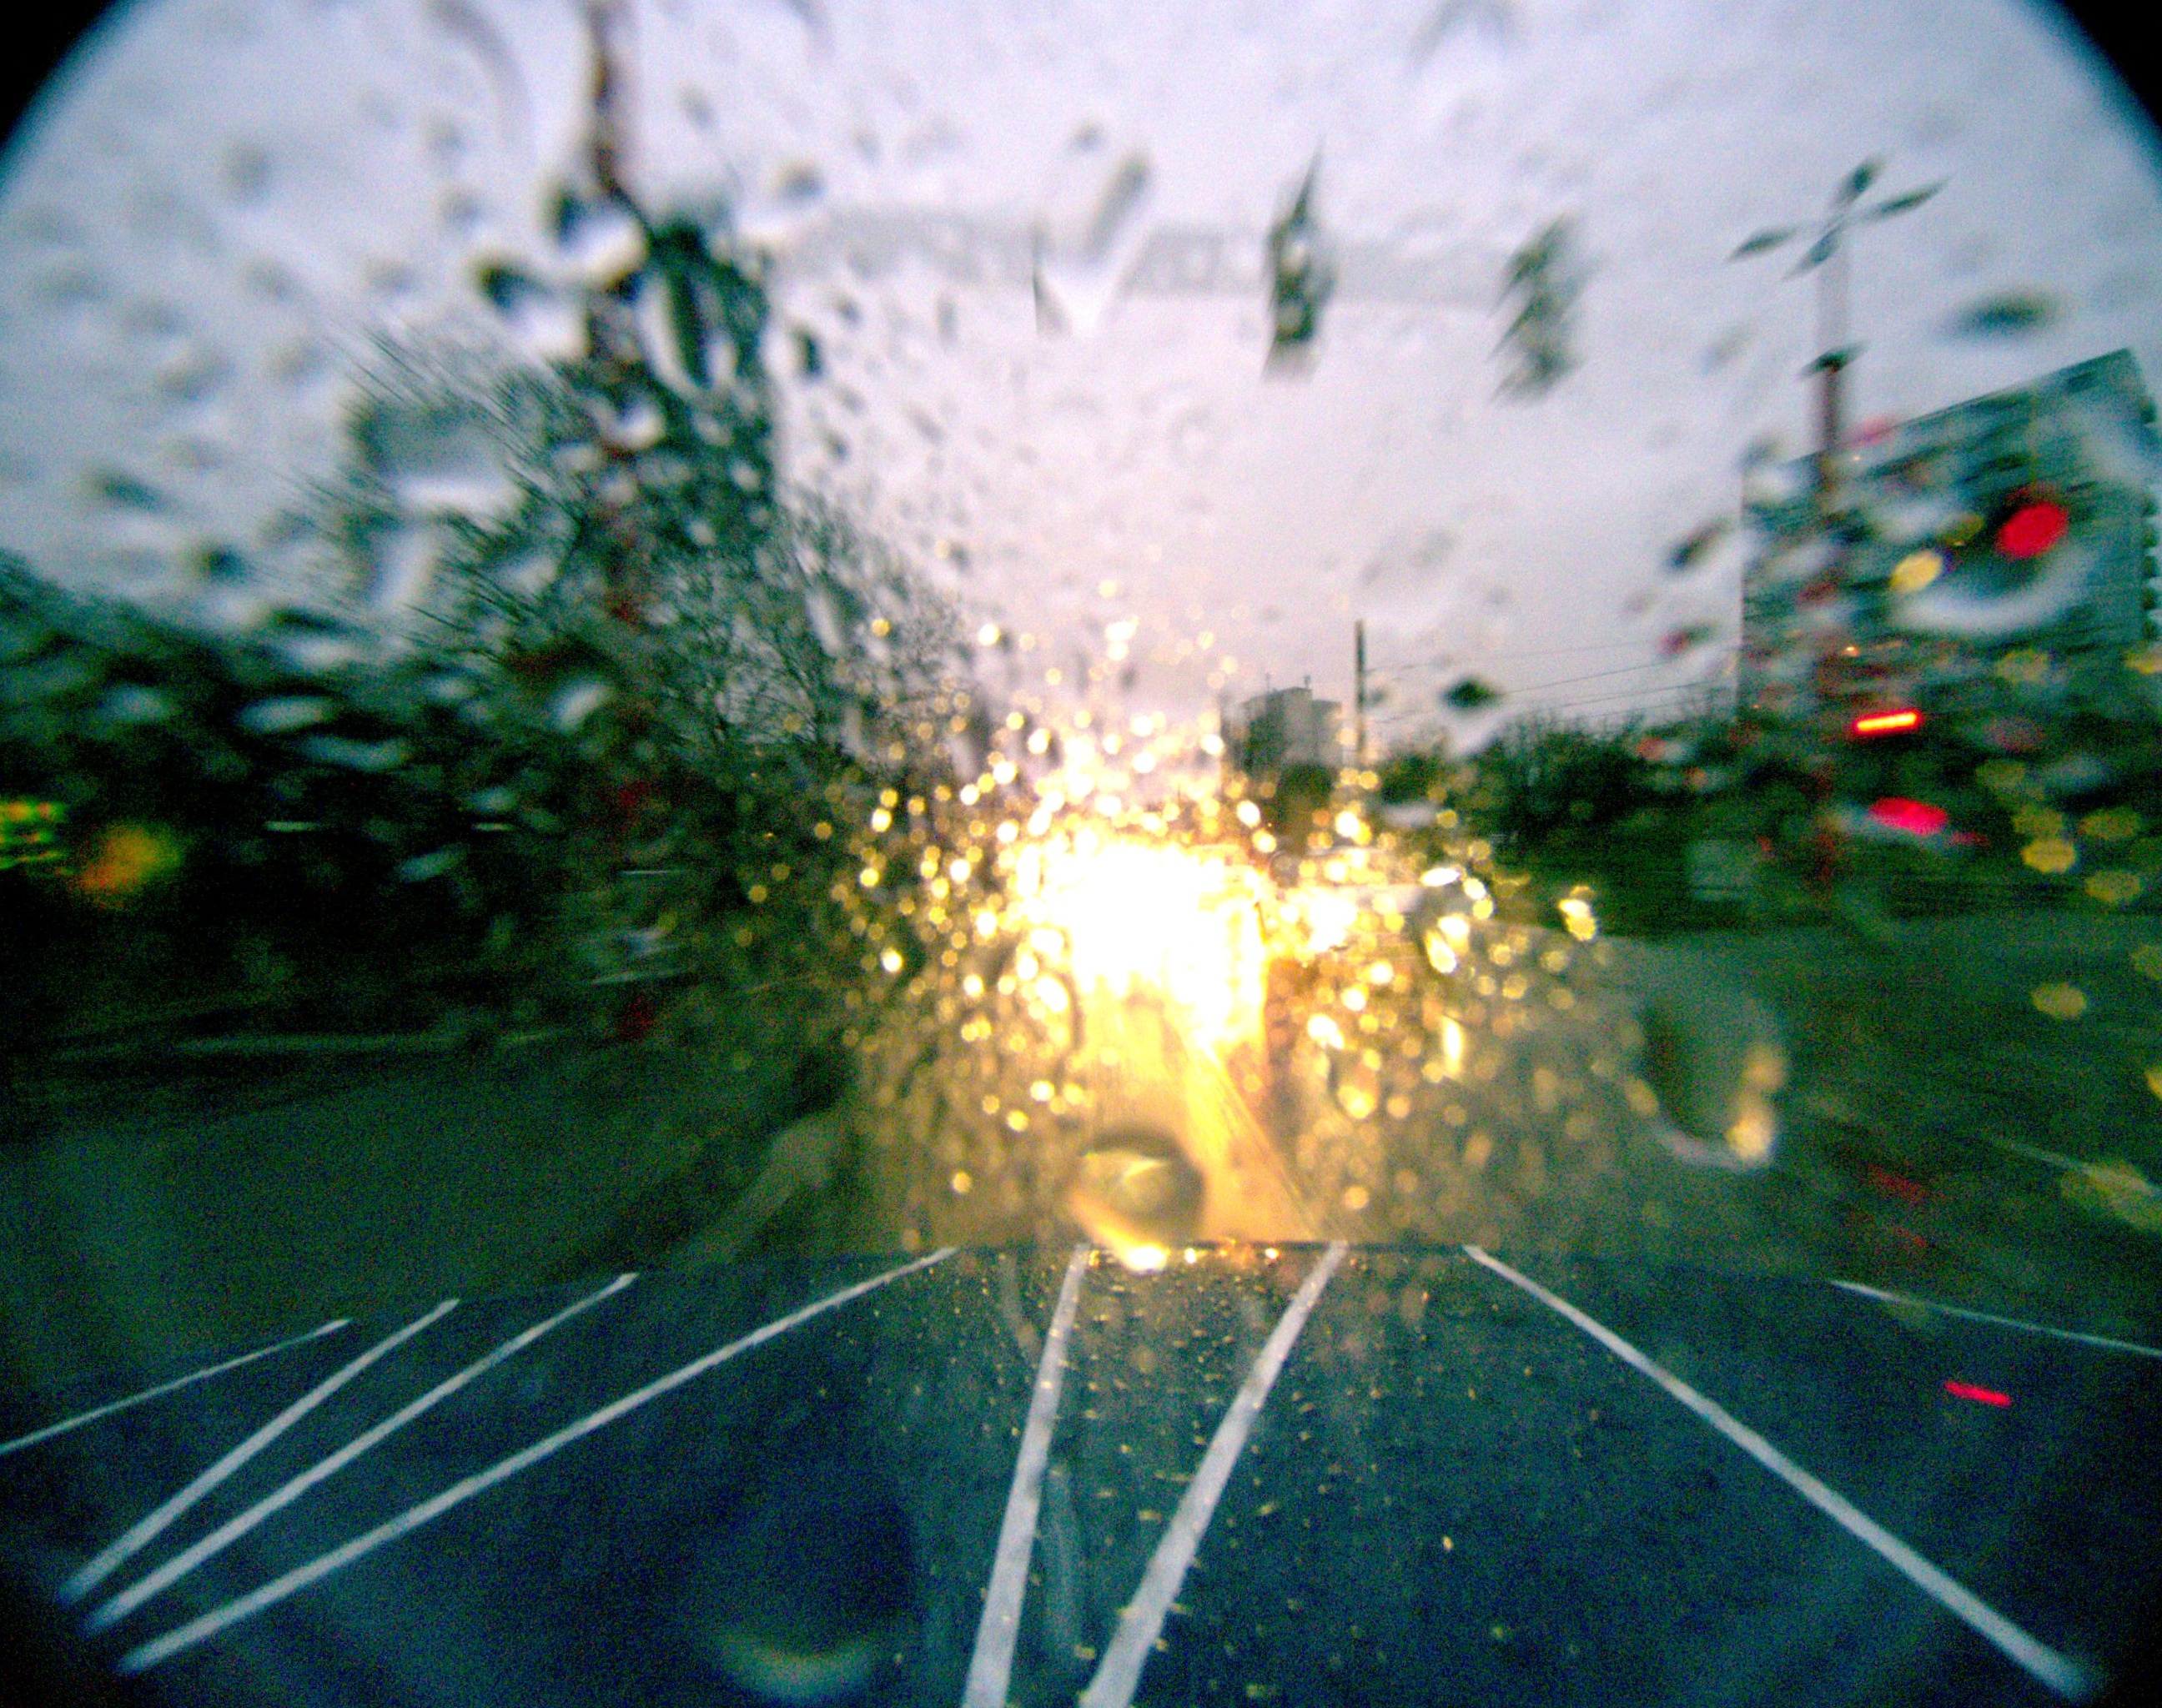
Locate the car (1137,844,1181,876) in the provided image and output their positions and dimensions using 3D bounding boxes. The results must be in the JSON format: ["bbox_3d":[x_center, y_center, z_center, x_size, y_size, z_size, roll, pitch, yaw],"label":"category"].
[{"bbox_3d":[4.117,0.275,40.665,1.952,1.590,4.124,-1,1,1],"label":"car"}]

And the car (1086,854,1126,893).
[{"bbox_3d":[1.097,0.849,34.979,1.679,1.590,4.044,-1,1,0],"label":"car"}]

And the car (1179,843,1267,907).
[{"bbox_3d":[3.808,0.495,20.998,1.694,1.530,4.190,-3,1,2],"label":"car"}]

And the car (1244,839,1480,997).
[{"bbox_3d":[3.415,0.650,10.106,1.718,1.638,4.147,-1,1,2],"label":"car"}]

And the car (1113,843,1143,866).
[{"bbox_3d":[3.453,0.035,56.400,1.952,1.590,4.124,-1,1,1],"label":"car"}]
